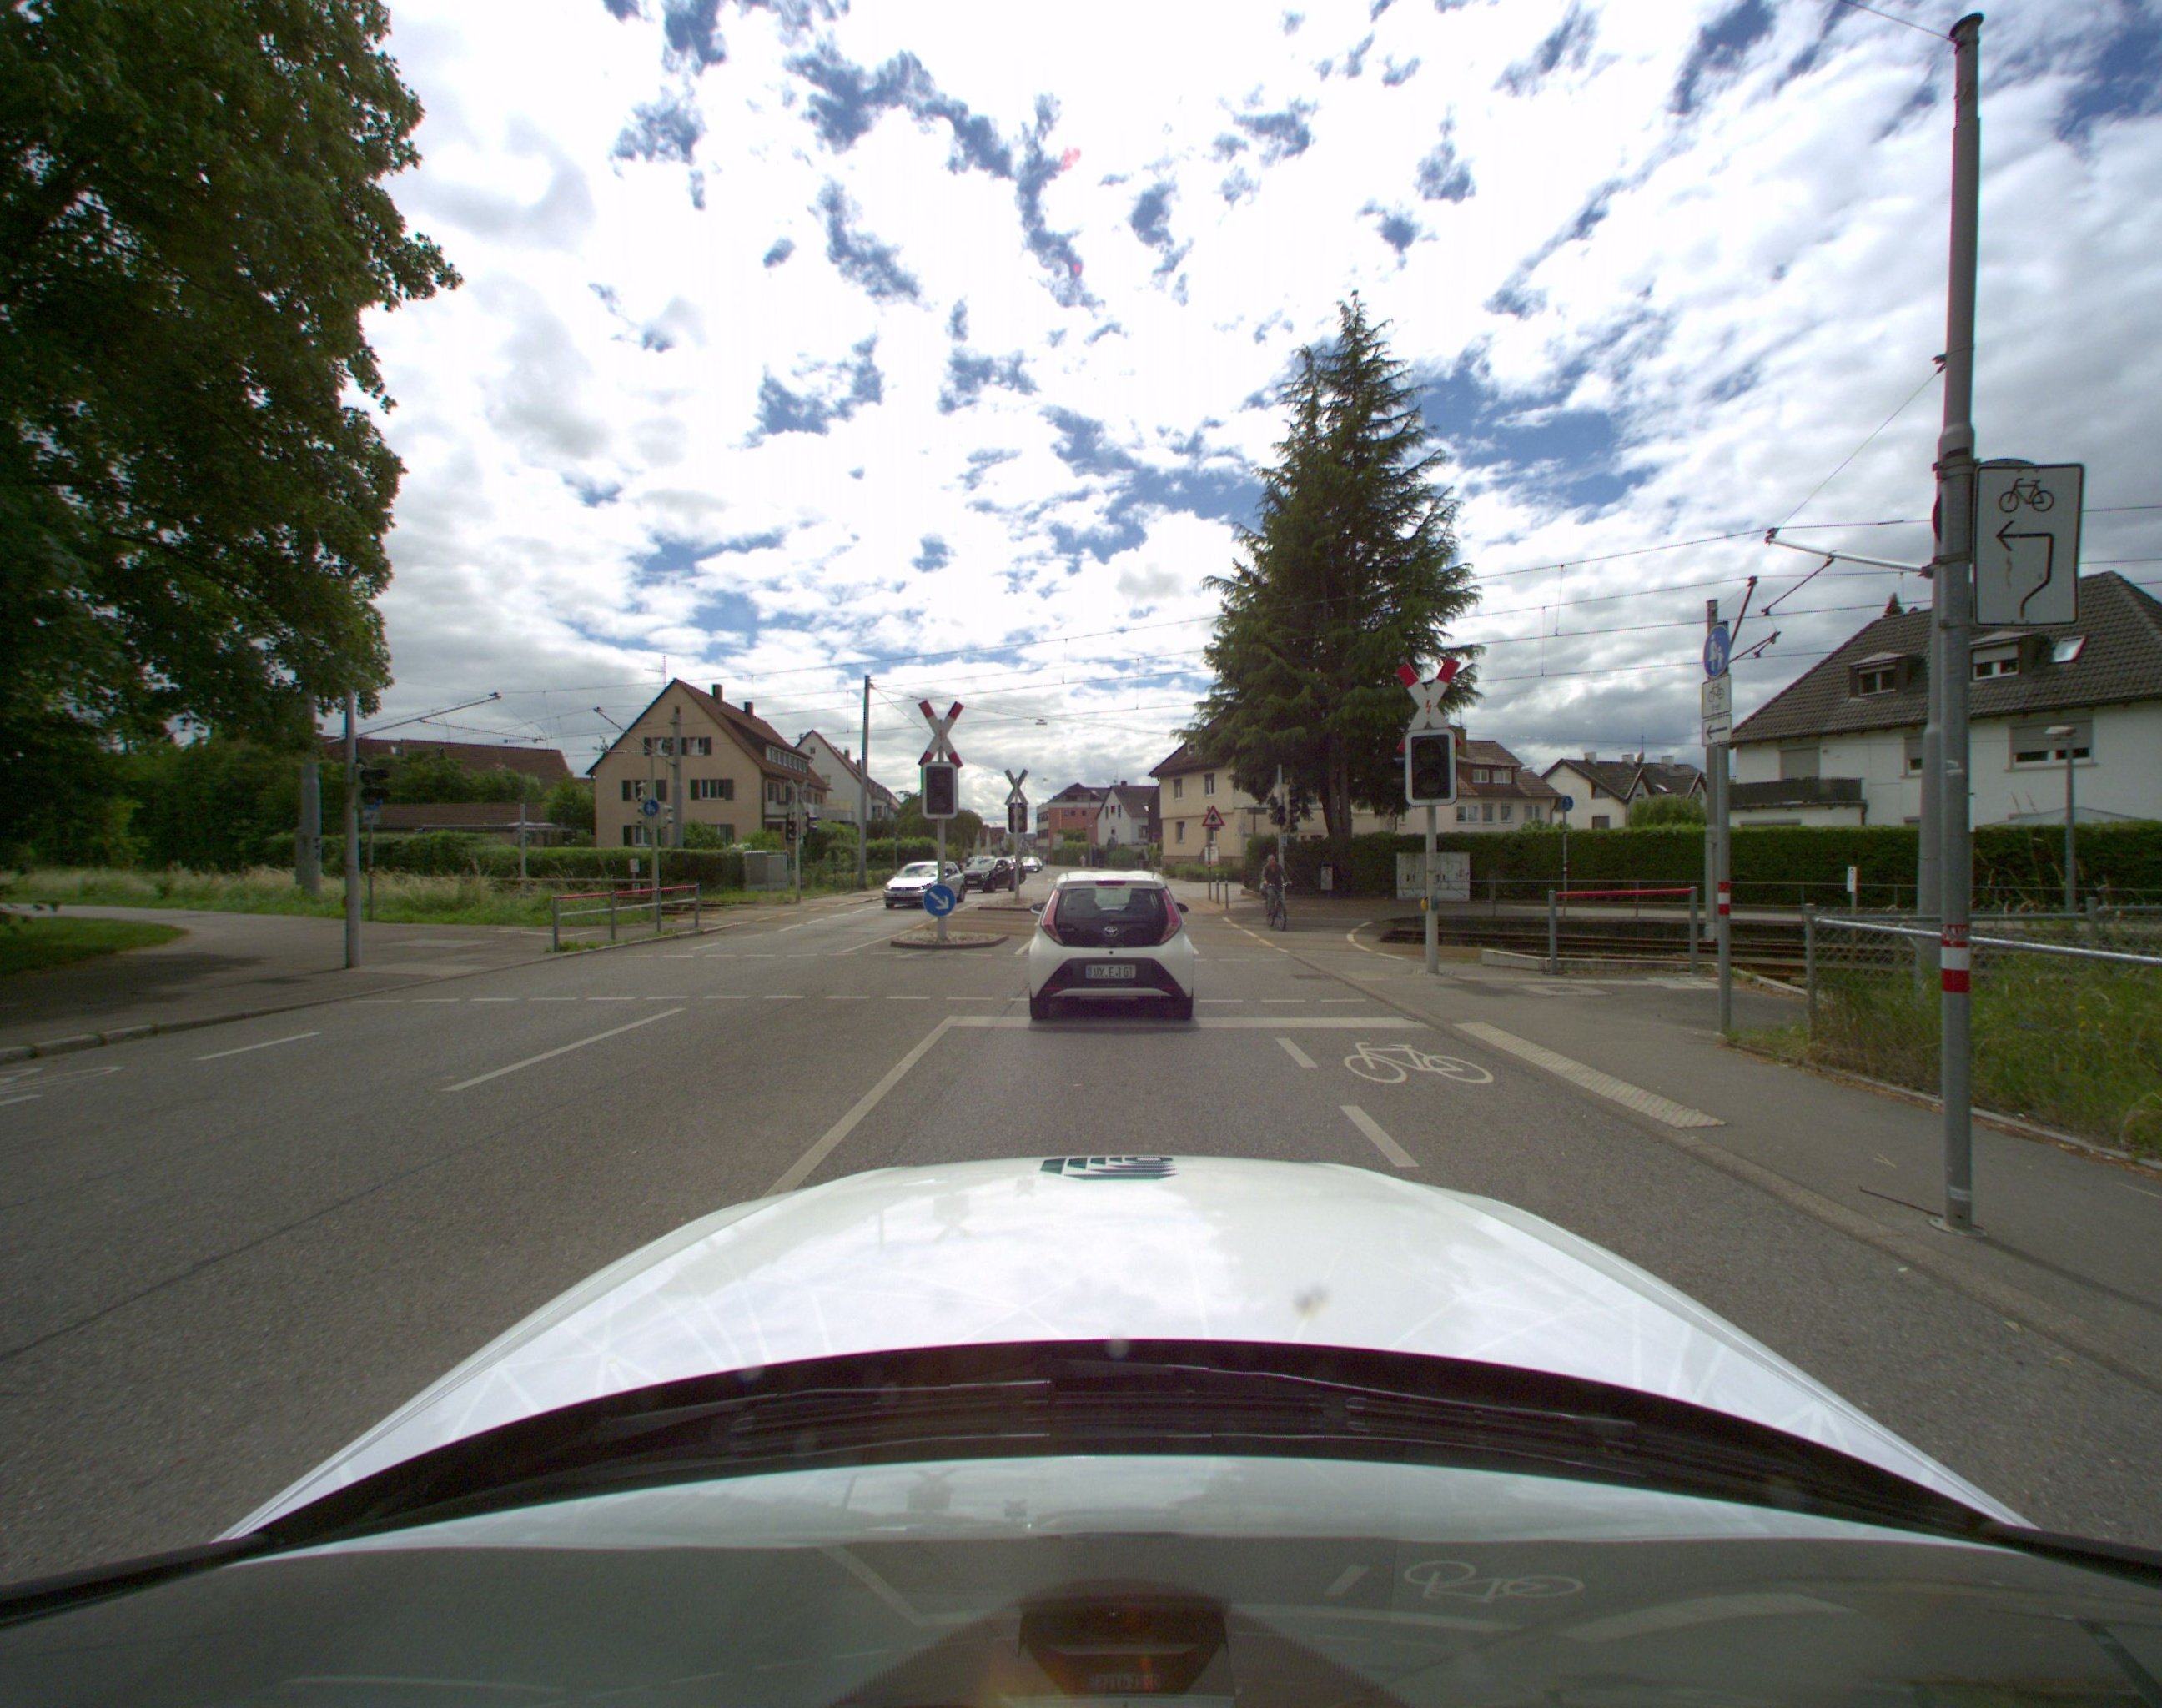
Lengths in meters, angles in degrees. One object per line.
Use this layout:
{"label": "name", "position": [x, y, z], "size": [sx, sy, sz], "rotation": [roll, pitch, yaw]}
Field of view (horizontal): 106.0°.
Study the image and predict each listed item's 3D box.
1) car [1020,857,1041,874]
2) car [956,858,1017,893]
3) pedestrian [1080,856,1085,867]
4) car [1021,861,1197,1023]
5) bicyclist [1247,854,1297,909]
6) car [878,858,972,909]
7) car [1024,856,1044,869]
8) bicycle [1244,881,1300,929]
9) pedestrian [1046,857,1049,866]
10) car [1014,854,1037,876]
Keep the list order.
{"label": "car", "position": [-4.910, 1.114, 78.101], "size": [1.773, 1.561, 4.159], "rotation": [0, 0, -7]}
{"label": "car", "position": [-4.196, 0.946, 36.644], "size": [1.561, 1.510, 2.802], "rotation": [1, 0, 21]}
{"label": "pedestrian", "position": [0.154, 0.940, 101.441], "size": [0.439, 1.438, 0.410], "rotation": [0, 0, -33]}
{"label": "car", "position": [0.332, 0.847, 9.578], "size": [1.615, 1.486, 4.001], "rotation": [-1, -1, 2]}
{"label": "bicyclist", "position": [4.476, 0.631, 19.171], "size": [0.928, 1.247, 1.102], "rotation": [0, -1, 1]}
{"label": "car", "position": [-5.112, 0.925, 27.237], "size": [1.677, 1.458, 4.082], "rotation": [-1, 1, 10]}
{"label": "car", "position": [-5.285, 0.955, 90.814], "size": [1.774, 1.430, 4.509], "rotation": [0, 0, -8]}
{"label": "bicycle", "position": [4.475, 1.176, 19.209], "size": [0.928, 1.040, 1.915], "rotation": [0, -1, 2]}
{"label": "pedestrian", "position": [-5.440, 1.214, 132.815], "size": [0.413, 1.438, 0.436], "rotation": [0, 0, -8]}
{"label": "car", "position": [-4.278, 0.830, 63.061], "size": [1.771, 1.603, 4.164], "rotation": [0, 0, -4]}
